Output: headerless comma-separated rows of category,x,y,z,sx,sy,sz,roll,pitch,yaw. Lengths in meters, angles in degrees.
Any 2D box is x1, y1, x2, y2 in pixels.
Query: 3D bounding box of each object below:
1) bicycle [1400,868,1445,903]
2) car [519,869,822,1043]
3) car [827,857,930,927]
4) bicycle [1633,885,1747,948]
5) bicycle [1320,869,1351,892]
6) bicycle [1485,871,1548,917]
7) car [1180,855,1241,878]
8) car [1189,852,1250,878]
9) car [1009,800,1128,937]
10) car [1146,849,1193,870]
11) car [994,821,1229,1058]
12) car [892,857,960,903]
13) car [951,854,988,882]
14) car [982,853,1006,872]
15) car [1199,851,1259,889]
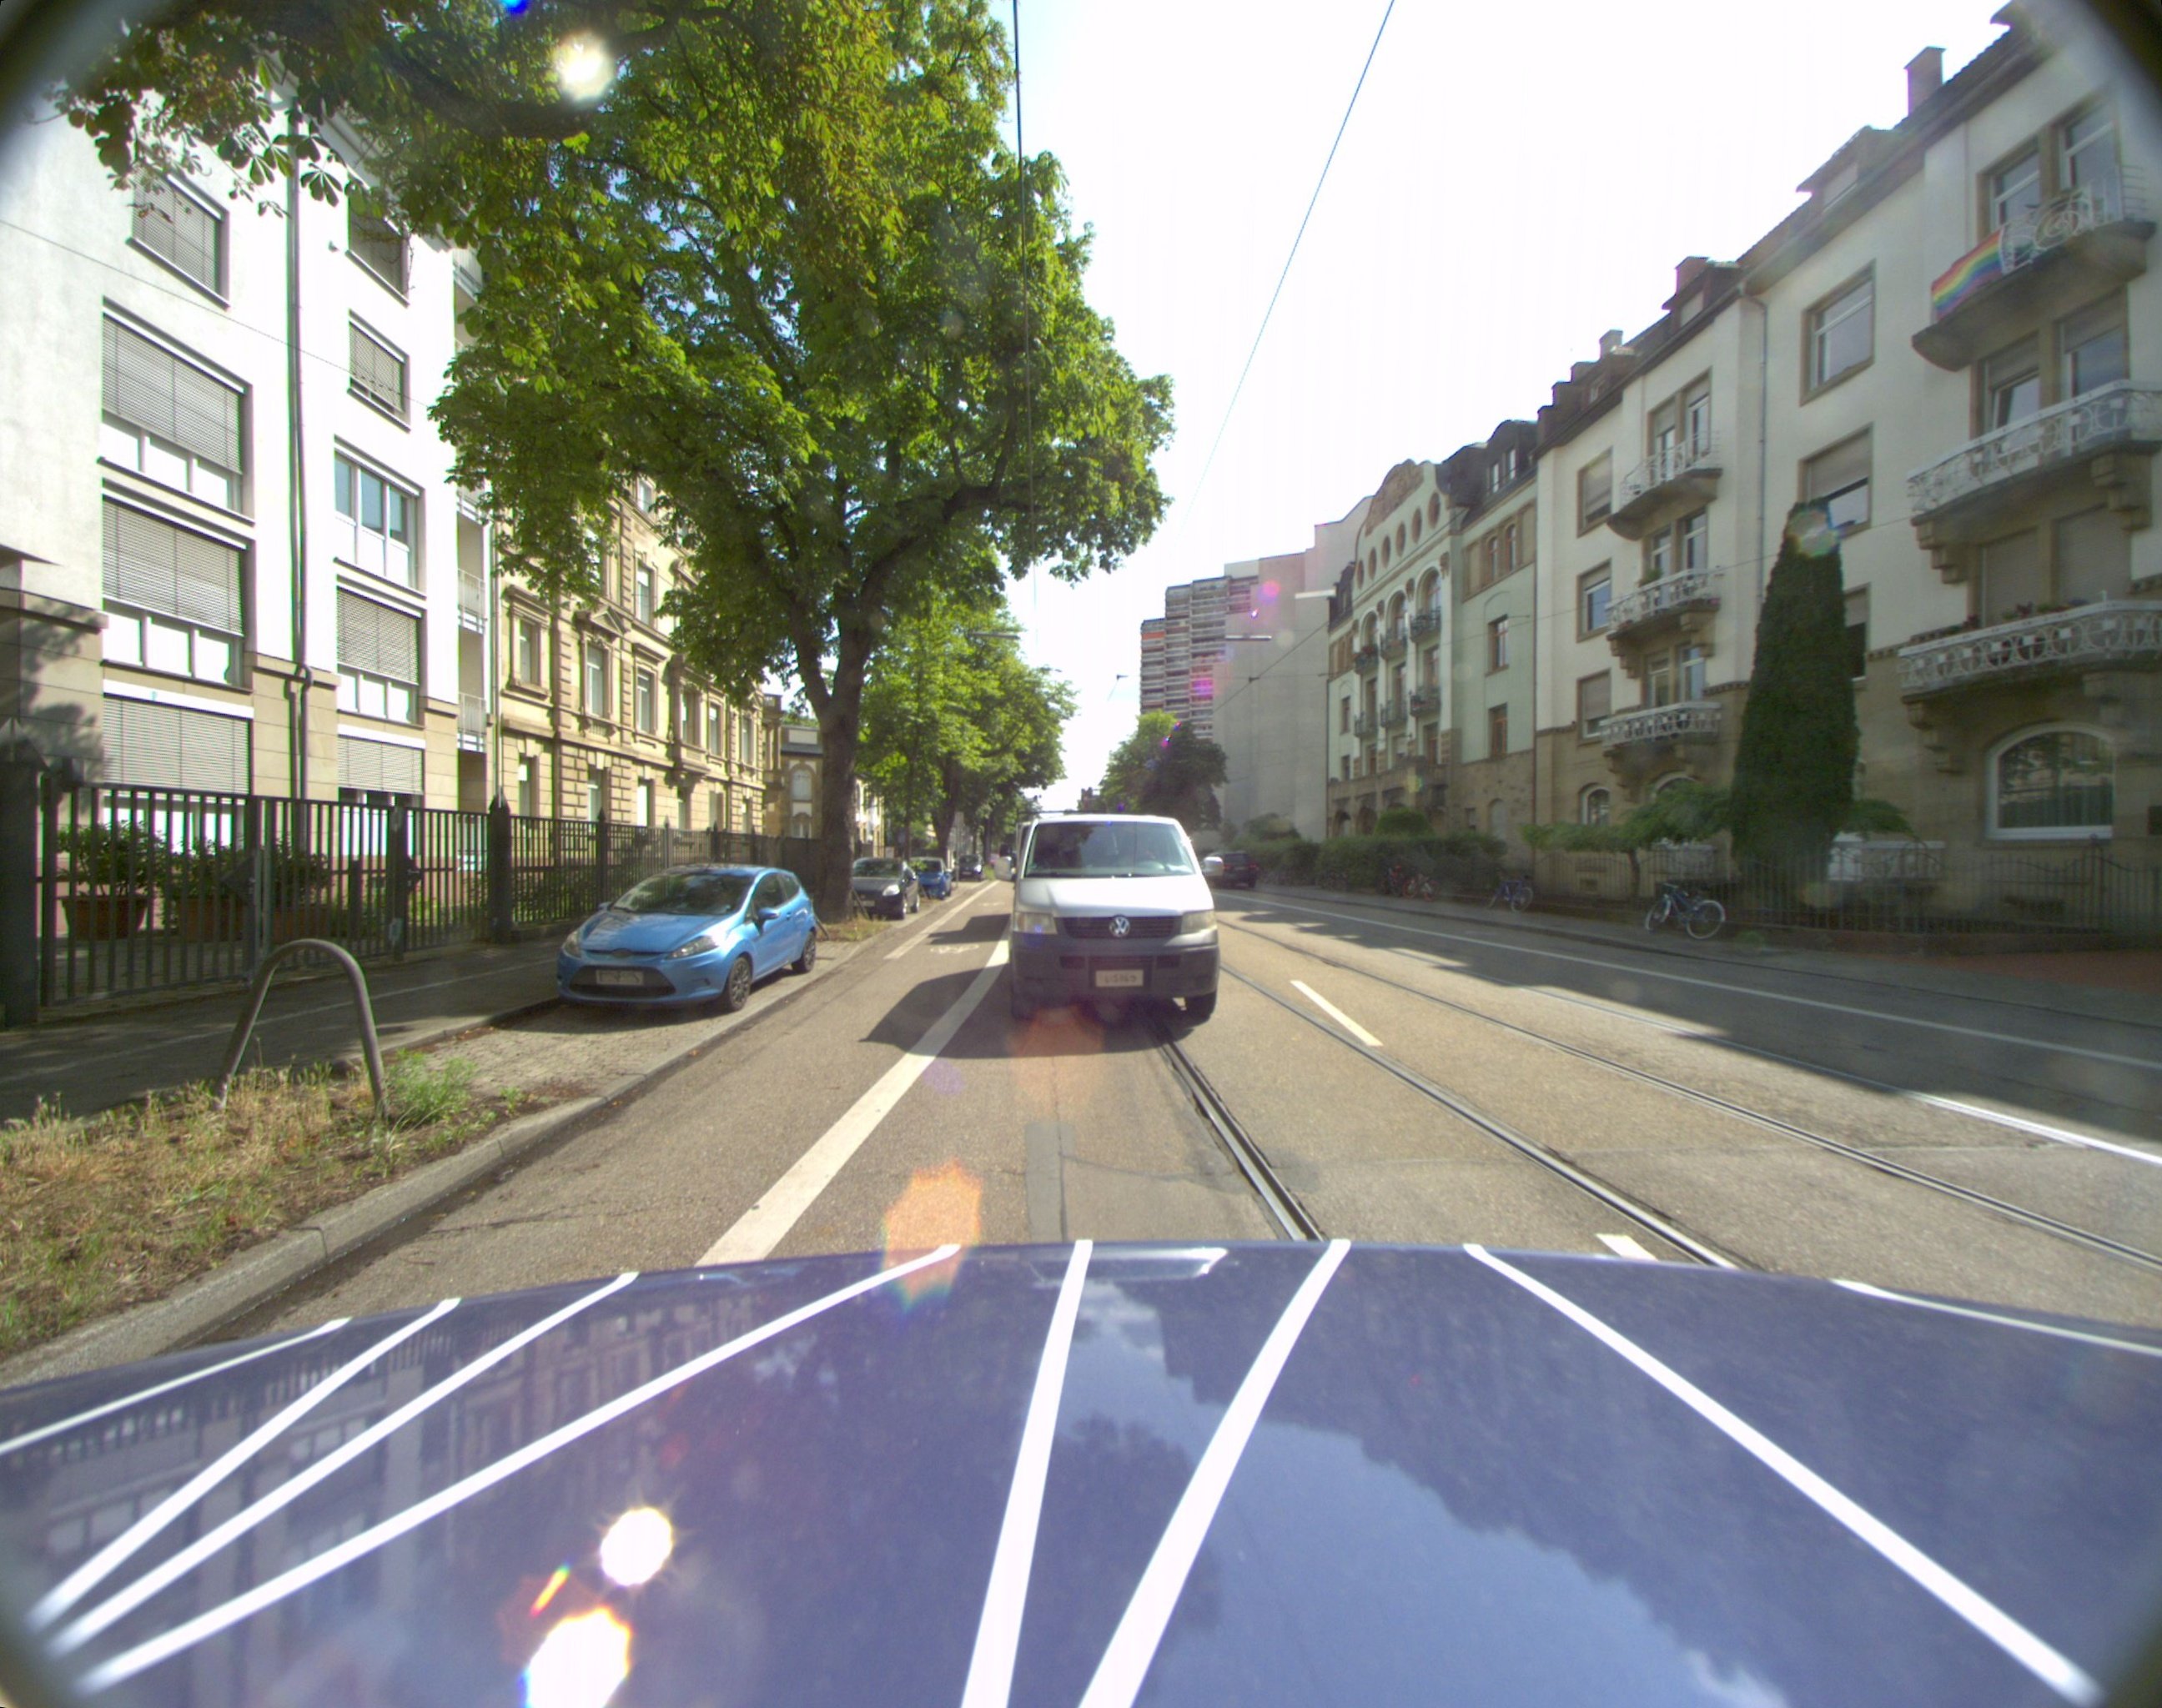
bicycle,10.545,0.959,23.537,0.587,0.980,1.872,0,1,1
car,-4.346,0.970,8.739,1.642,1.447,3.697,2,0,-4
car,-4.950,0.874,19.025,1.644,1.499,3.621,2,0,-2
bicycle,11.047,1.105,13.872,0.524,0.901,2.067,0,2,4
bicycle,9.925,1.030,29.665,0.587,0.792,1.872,-2,1,1
bicycle,10.885,0.983,19.051,0.539,1.024,1.872,0,1,1
car,8.863,0.829,52.336,3.890,1.527,1.634,0,0,-1
car,8.982,0.676,49.408,3.631,1.630,1.610,0,1,-3
car,-0.490,0.251,17.097,2.169,2.572,5.660,0,0,-6
car,7.990,0.486,68.560,3.997,1.914,1.830,0,1,-1
car,0.263,0.668,8.432,1.831,1.856,4.845,-1,0,0
car,-5.446,0.859,27.137,1.724,1.443,3.924,2,0,-3
car,-6.696,0.790,46.006,1.774,1.522,4.198,2,0,-3
car,-7.865,0.744,68.842,1.774,1.563,4.198,2,0,-3
car,6.981,0.710,36.290,1.796,1.701,4.330,0,0,-4
